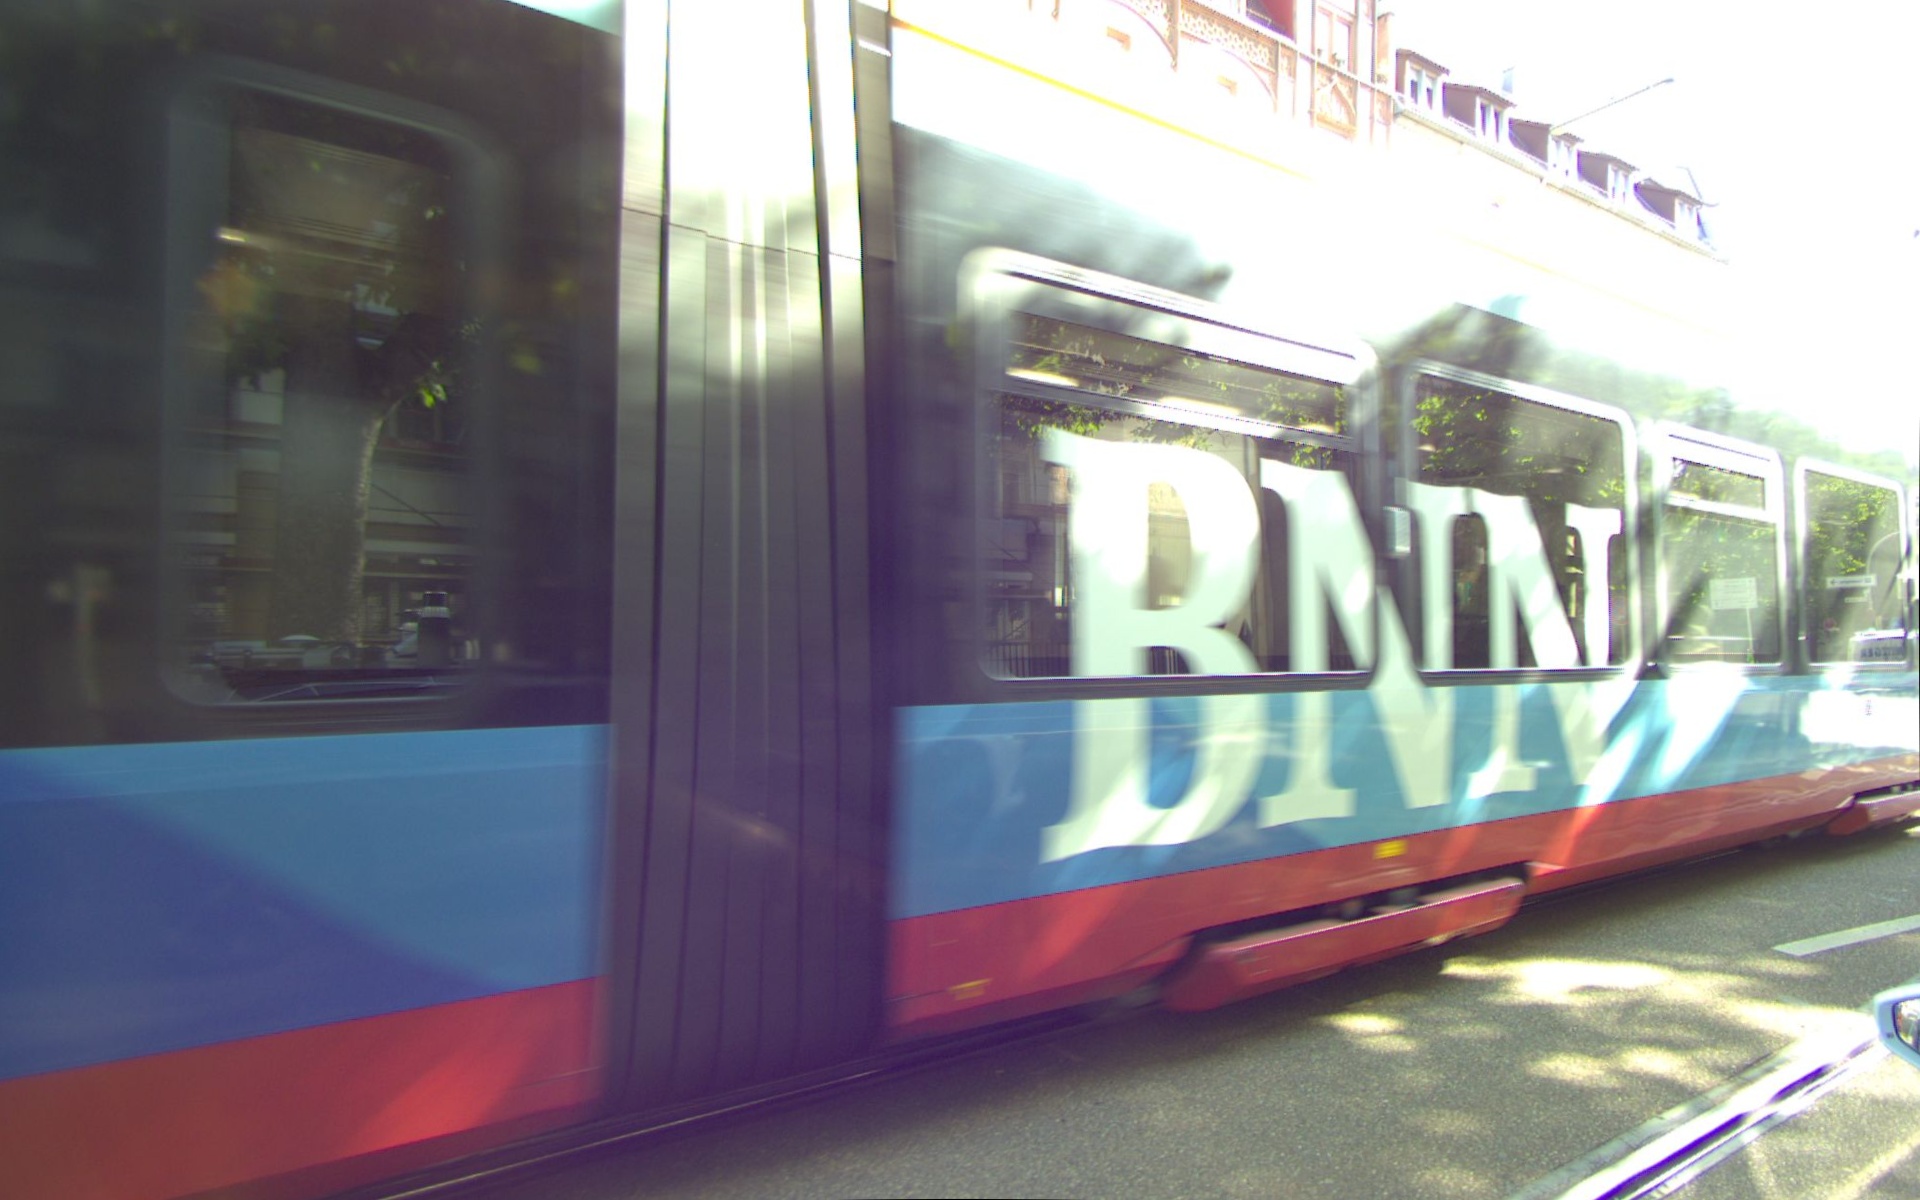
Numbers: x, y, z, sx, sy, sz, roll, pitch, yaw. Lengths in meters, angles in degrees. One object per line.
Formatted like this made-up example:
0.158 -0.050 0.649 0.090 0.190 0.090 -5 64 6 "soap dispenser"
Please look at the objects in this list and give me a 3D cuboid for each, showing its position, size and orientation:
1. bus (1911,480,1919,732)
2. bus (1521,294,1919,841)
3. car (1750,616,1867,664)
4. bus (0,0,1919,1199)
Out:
20.323 0.304 17.348 12.066 3.827 2.833 2 0 -33 "bus"
10.665 -0.072 11.136 11.063 3.827 2.843 2 0 -33 "bus"
39.534 1.838 46.938 1.961 2.040 3.999 2 0 -1 "car"
1.152 -0.442 4.962 11.374 3.827 2.843 2 0 -33 "bus"
